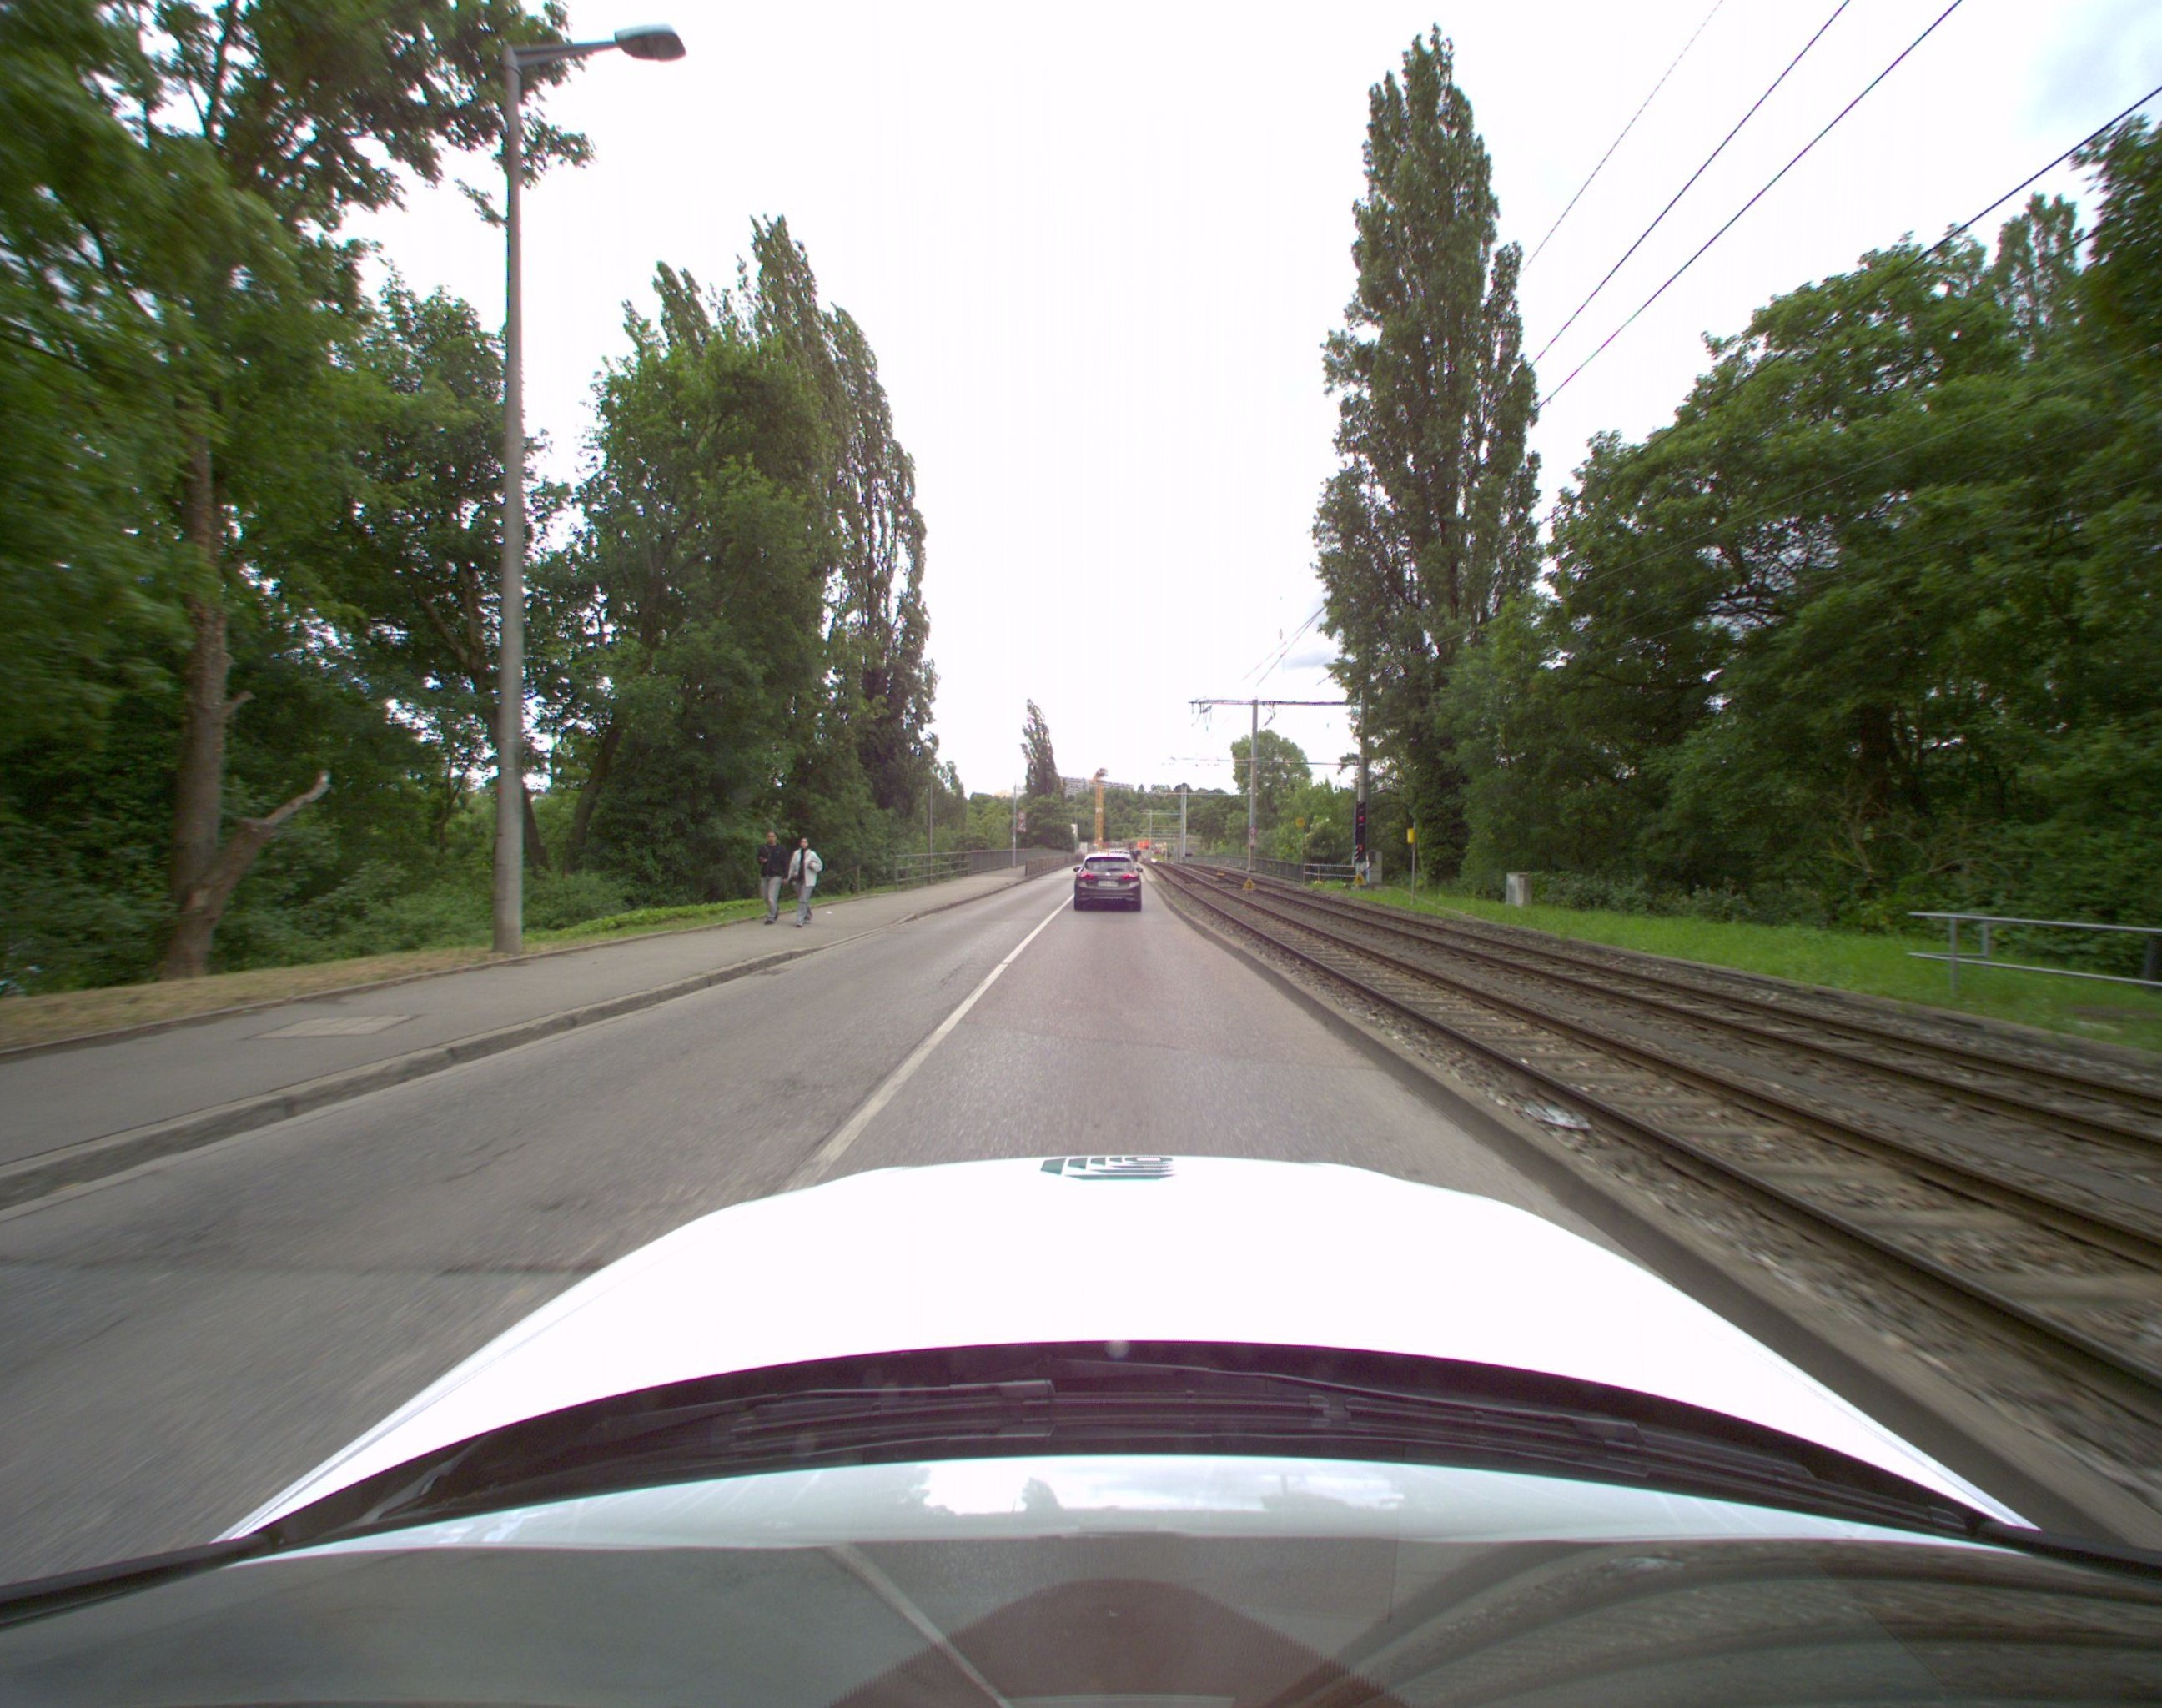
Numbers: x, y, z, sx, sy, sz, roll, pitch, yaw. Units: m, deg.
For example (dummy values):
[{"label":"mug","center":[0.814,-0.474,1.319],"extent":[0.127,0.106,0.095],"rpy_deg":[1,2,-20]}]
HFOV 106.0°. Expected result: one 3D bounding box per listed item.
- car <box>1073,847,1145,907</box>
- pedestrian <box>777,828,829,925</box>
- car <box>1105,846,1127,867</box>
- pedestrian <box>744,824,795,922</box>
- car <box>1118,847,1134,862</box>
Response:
[{"label":"car","center":[0.705,0.625,22.599],"extent":[1.824,1.510,3.998],"rpy_deg":[0,-1,0]},{"label":"pedestrian","center":[-5.325,0.421,15.621],"extent":[0.549,1.765,0.858],"rpy_deg":[4,0,1]},{"label":"car","center":[2.907,0.181,69.077],"extent":[1.674,1.606,4.309],"rpy_deg":[2,1,0]},{"label":"pedestrian","center":[-5.948,0.351,15.602],"extent":[0.585,1.803,0.822],"rpy_deg":[2,0,1]},{"label":"car","center":[5.036,0.029,90.748],"extent":[1.673,1.606,4.313],"rpy_deg":[2,1,3]}]
